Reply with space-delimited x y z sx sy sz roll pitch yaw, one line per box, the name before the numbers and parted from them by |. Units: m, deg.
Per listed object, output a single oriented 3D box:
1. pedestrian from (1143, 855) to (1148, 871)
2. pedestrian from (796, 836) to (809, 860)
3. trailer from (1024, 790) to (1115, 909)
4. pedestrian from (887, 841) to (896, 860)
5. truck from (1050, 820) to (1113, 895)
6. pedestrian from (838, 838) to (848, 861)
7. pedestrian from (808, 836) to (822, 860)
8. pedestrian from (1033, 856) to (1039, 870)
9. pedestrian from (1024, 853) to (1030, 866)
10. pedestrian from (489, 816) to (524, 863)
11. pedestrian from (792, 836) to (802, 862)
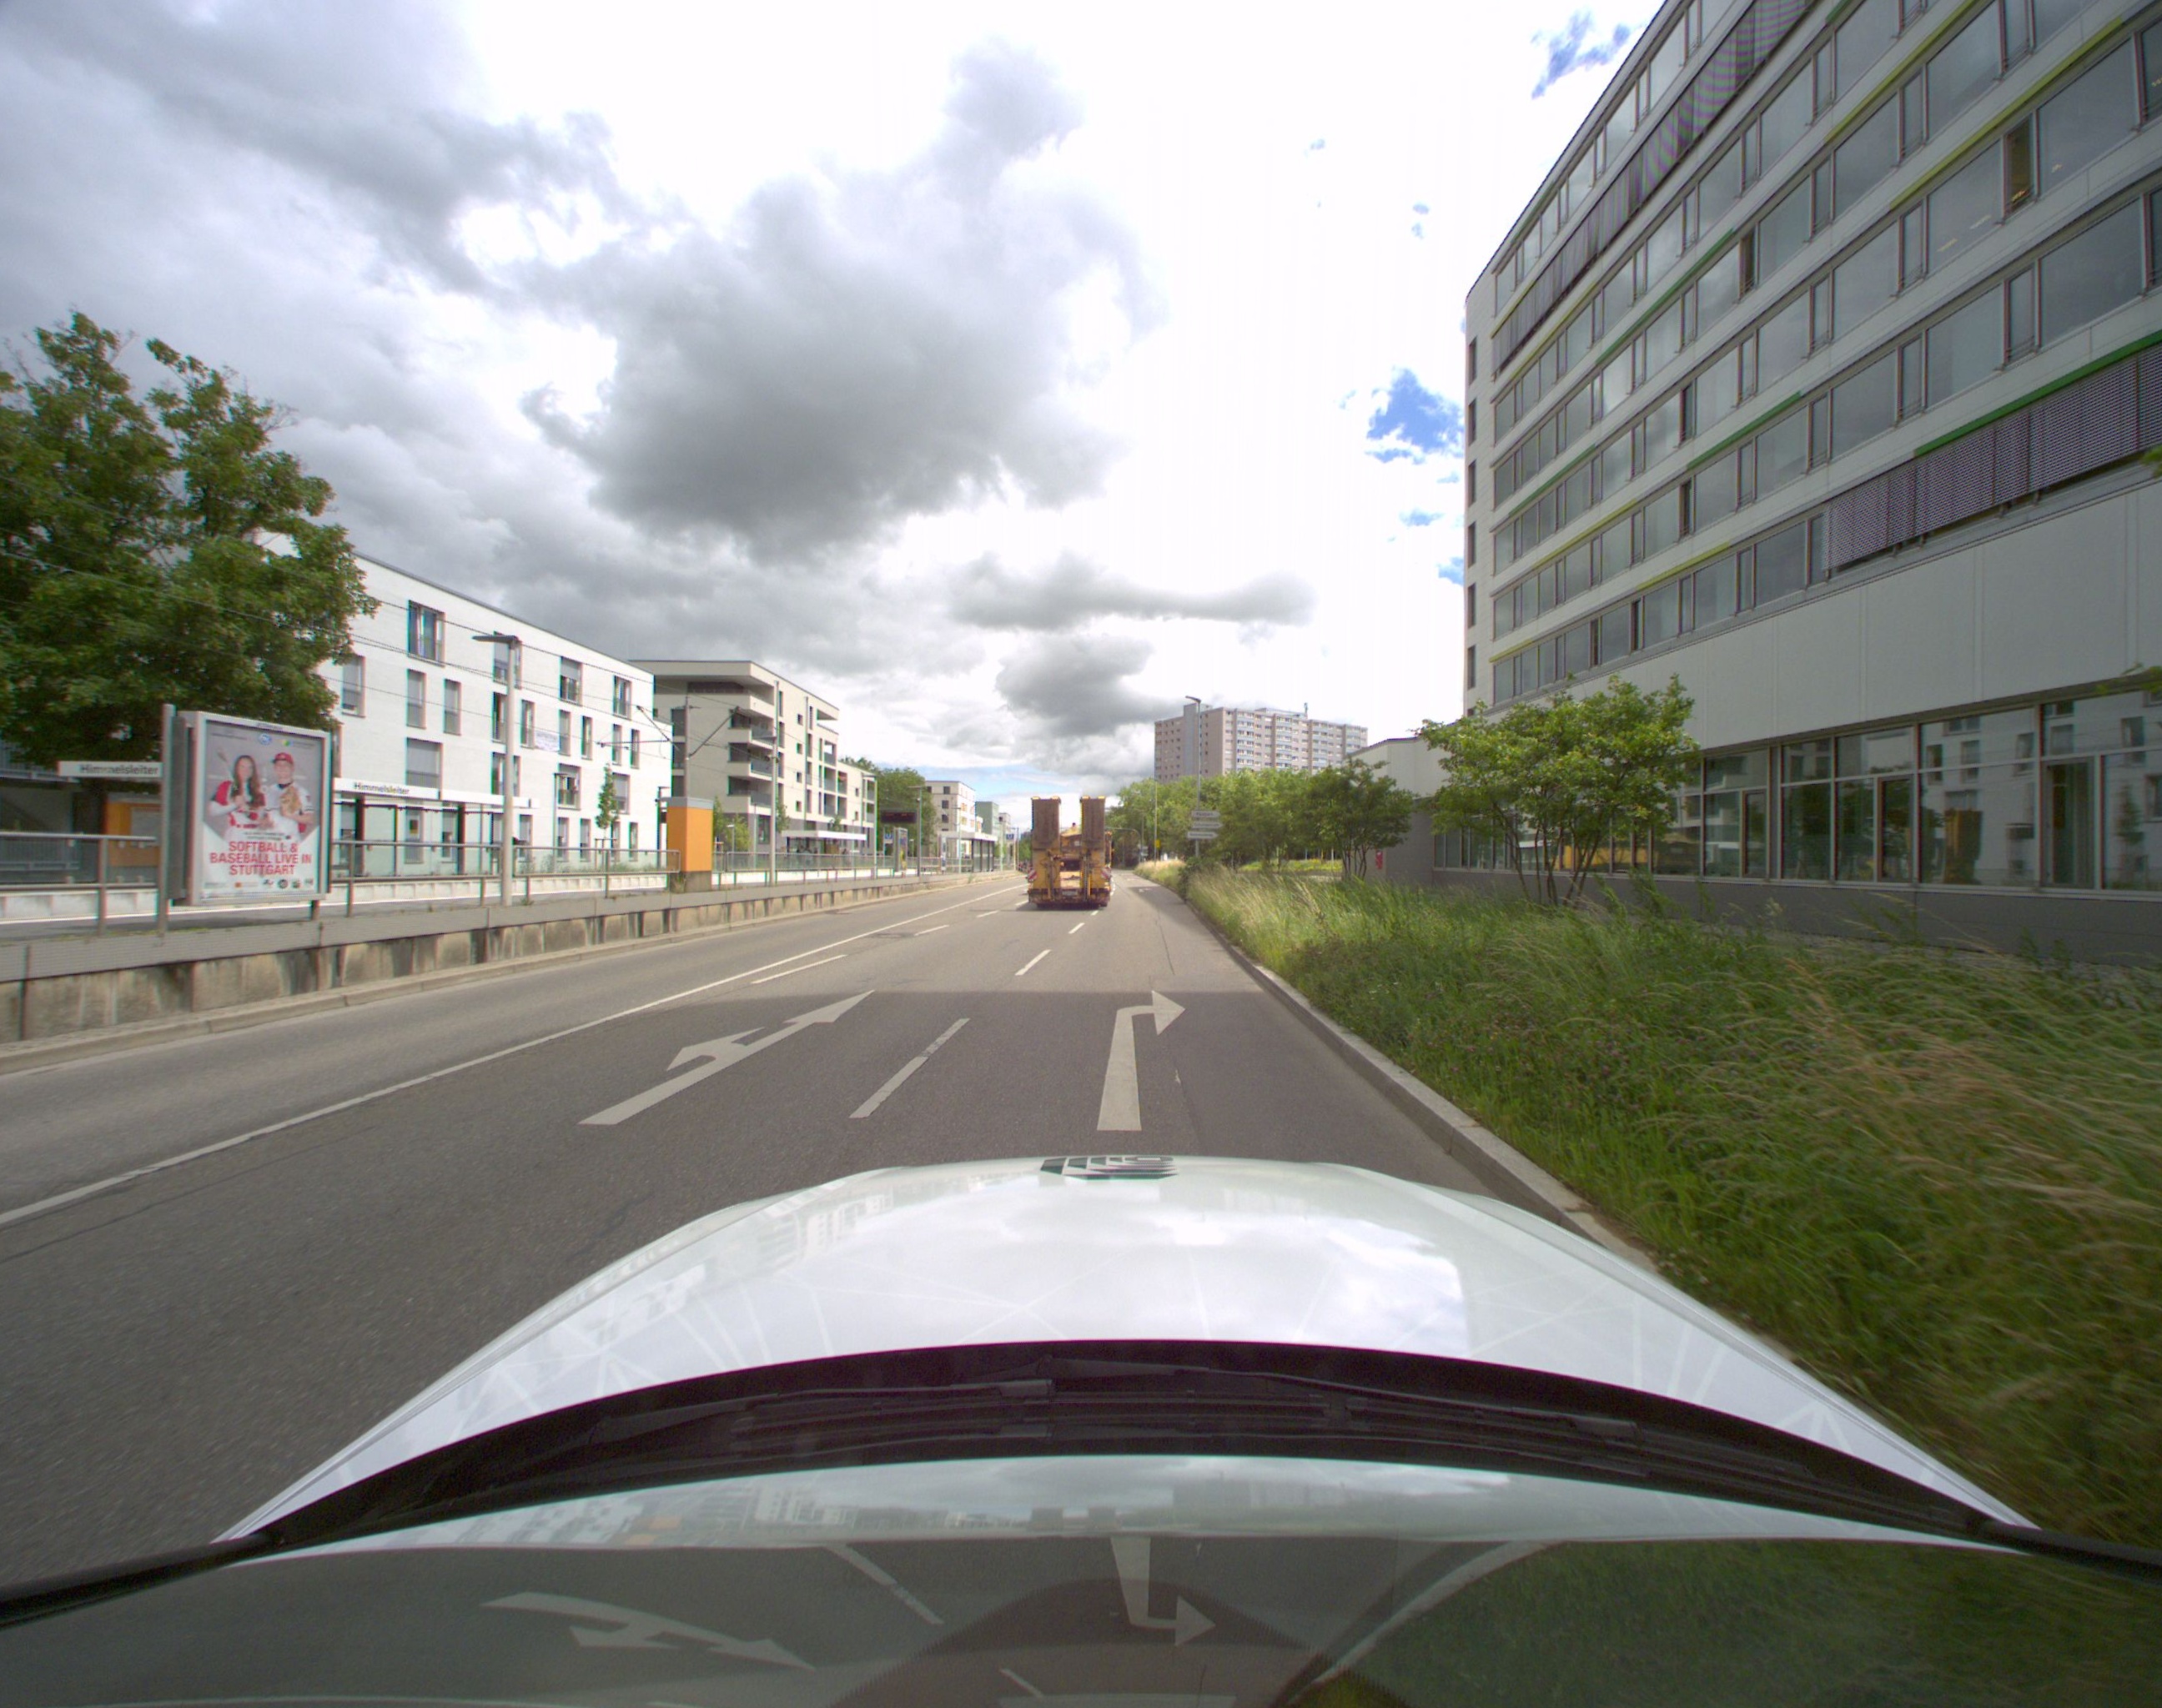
pedestrian | 8.031 1.144 101.114 0.560 2.014 0.490 0 -1 -8
pedestrian | -18.473 -0.394 54.063 0.483 1.596 0.681 0 0 44
trailer | -0.171 -0.142 30.104 2.719 3.558 11.258 0 0 2
pedestrian | -18.153 -0.309 78.101 0.673 1.766 0.933 0 0 -2
truck | 0.140 0.139 39.919 2.743 3.313 8.354 0 0 2
pedestrian | -18.639 -0.329 63.853 0.559 1.766 0.678 0 0 3
pedestrian | -17.965 -0.405 54.993 0.482 1.596 0.682 0 0 36
pedestrian | -5.638 1.150 102.792 0.679 1.670 0.823 0 0 1
pedestrian | -6.521 0.682 98.130 0.679 1.602 0.823 0 0 1
pedestrian | -18.795 -0.466 26.631 0.738 1.531 0.547 0 0 4
pedestrian | -19.102 -0.353 54.723 0.491 1.725 0.671 1 0 -33
